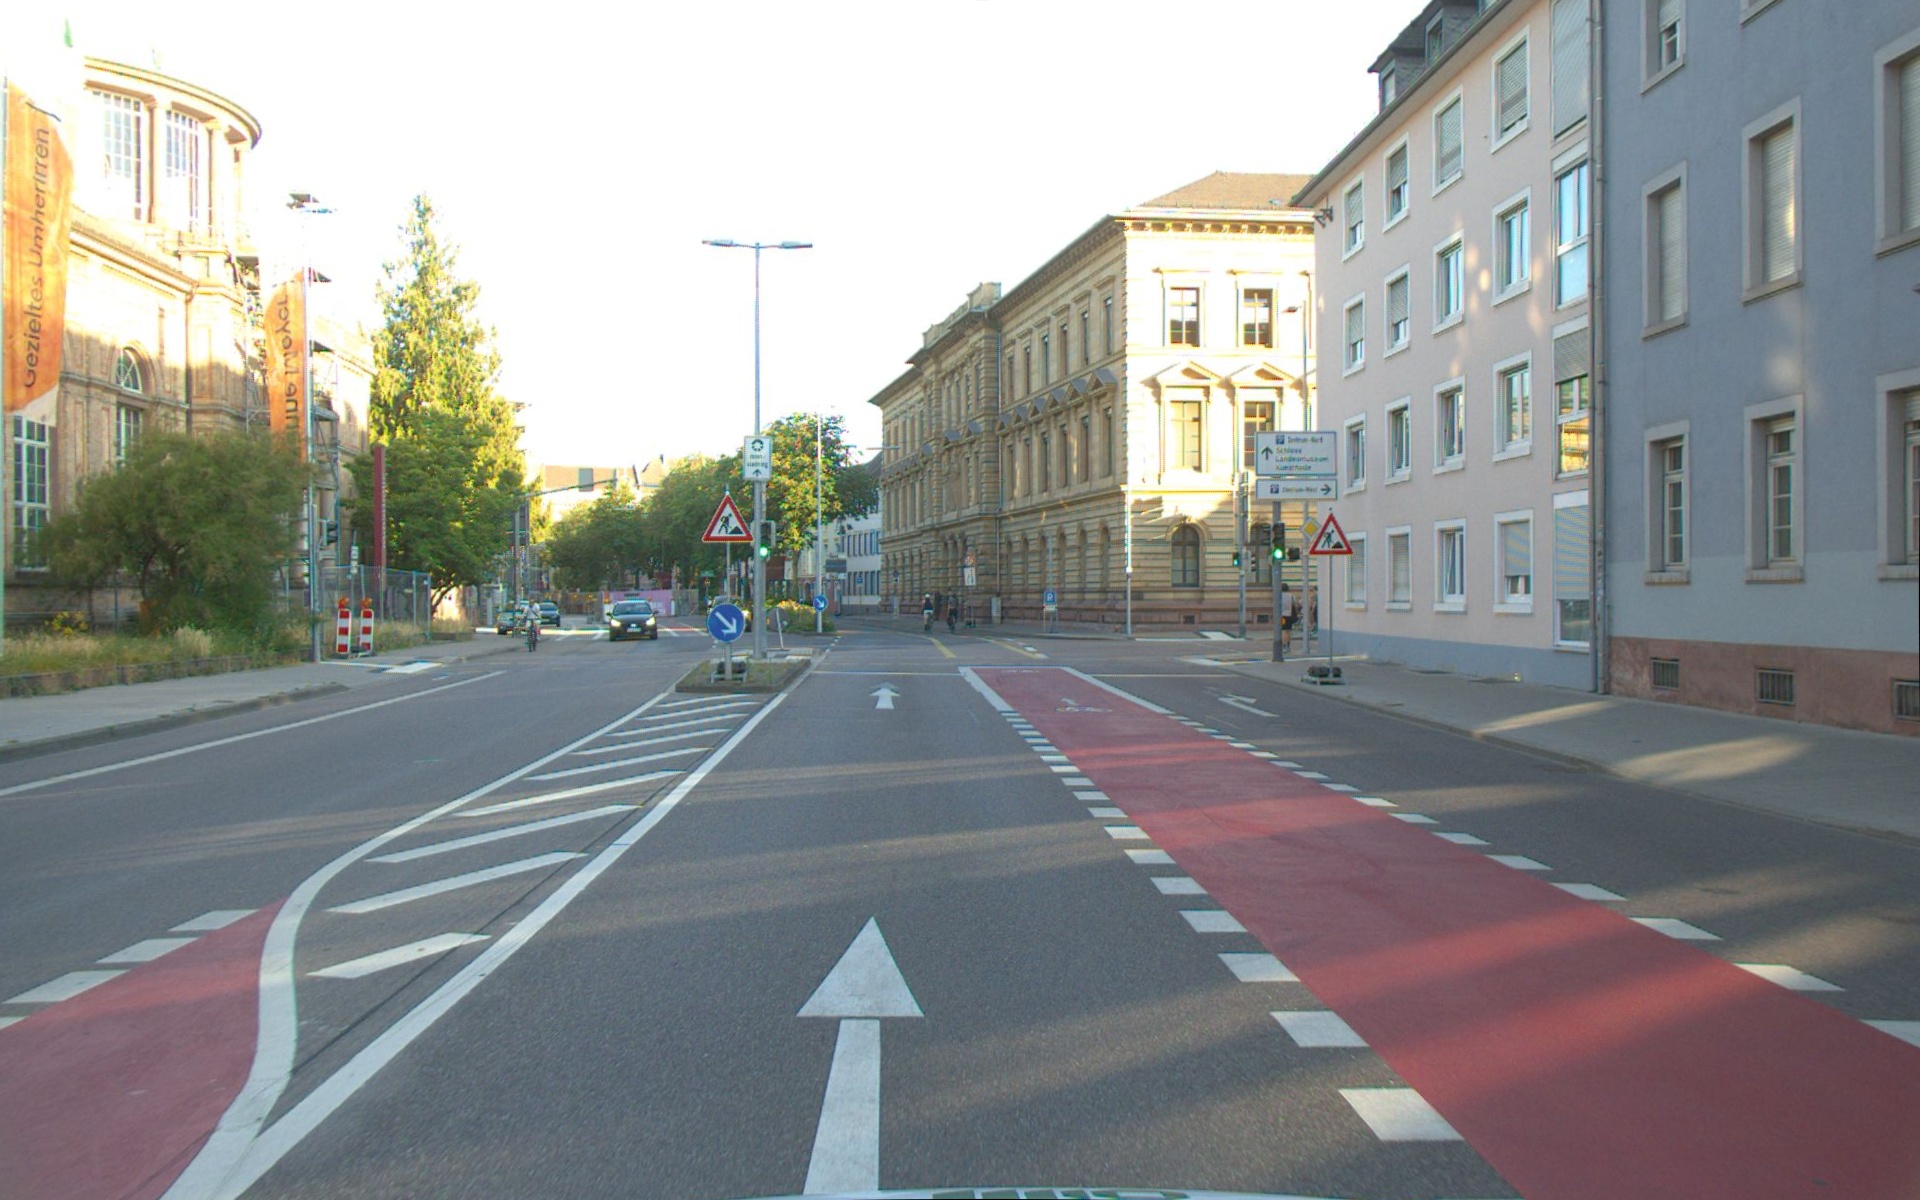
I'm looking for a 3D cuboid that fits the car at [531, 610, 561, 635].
[{"bbox_3d":[-24.195,1.276,96.695,1.651,1.374,3.872,-2,0,-14],"label":"car"}]

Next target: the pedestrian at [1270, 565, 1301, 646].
[{"bbox_3d":[8.411,0.138,42.713,0.768,2.049,0.995,0,0,12],"label":"pedestrian"}]

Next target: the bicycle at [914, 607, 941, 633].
[{"bbox_3d":[-1.428,0.878,73.127,0.659,1.090,1.891,1,-1,-18],"label":"bicycle"}]

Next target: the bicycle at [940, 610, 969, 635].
[{"bbox_3d":[-0.251,0.977,73.173,0.642,1.089,2.248,2,-1,-16],"label":"bicycle"}]

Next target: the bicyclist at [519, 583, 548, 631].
[{"bbox_3d":[-13.468,0.216,52.245,0.733,1.486,0.935,-2,0,-9],"label":"bicyclist"}]

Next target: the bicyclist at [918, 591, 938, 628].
[{"bbox_3d":[-1.406,0.410,73.113,0.658,1.593,0.695,2,-1,-18],"label":"bicyclist"}]

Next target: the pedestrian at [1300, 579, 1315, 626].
[{"bbox_3d":[14.036,0.083,66.772,0.446,1.890,0.420,0,0,-44],"label":"pedestrian"}]

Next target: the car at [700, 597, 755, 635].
[{"bbox_3d":[-10.243,0.687,73.063,1.807,1.574,4.118,-1,0,0],"label":"car"}]

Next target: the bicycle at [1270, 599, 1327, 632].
[{"bbox_3d":[13.007,0.596,63.645,2.010,1.228,0.861,-1,2,-5],"label":"bicycle"}]

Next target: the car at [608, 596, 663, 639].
[{"bbox_3d":[-12.339,0.640,63.018,1.789,1.534,4.419,-1,0,-8],"label":"car"}]

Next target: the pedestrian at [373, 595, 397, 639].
[{"bbox_3d":[-21.516,0.630,61.925,0.722,1.606,0.761,0,0,-9],"label":"pedestrian"}]

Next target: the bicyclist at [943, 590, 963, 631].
[{"bbox_3d":[-0.298,0.447,73.370,0.639,1.791,0.860,2,-1,-16],"label":"bicyclist"}]

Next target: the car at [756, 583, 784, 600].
[{"bbox_3d":[-19.128,-0.855,166.642,1.788,1.587,3.837,0,0,-23],"label":"car"}]

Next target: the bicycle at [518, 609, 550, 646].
[{"bbox_3d":[-13.434,0.855,52.189,0.739,1.109,1.928,-2,0,-9],"label":"bicycle"}]
